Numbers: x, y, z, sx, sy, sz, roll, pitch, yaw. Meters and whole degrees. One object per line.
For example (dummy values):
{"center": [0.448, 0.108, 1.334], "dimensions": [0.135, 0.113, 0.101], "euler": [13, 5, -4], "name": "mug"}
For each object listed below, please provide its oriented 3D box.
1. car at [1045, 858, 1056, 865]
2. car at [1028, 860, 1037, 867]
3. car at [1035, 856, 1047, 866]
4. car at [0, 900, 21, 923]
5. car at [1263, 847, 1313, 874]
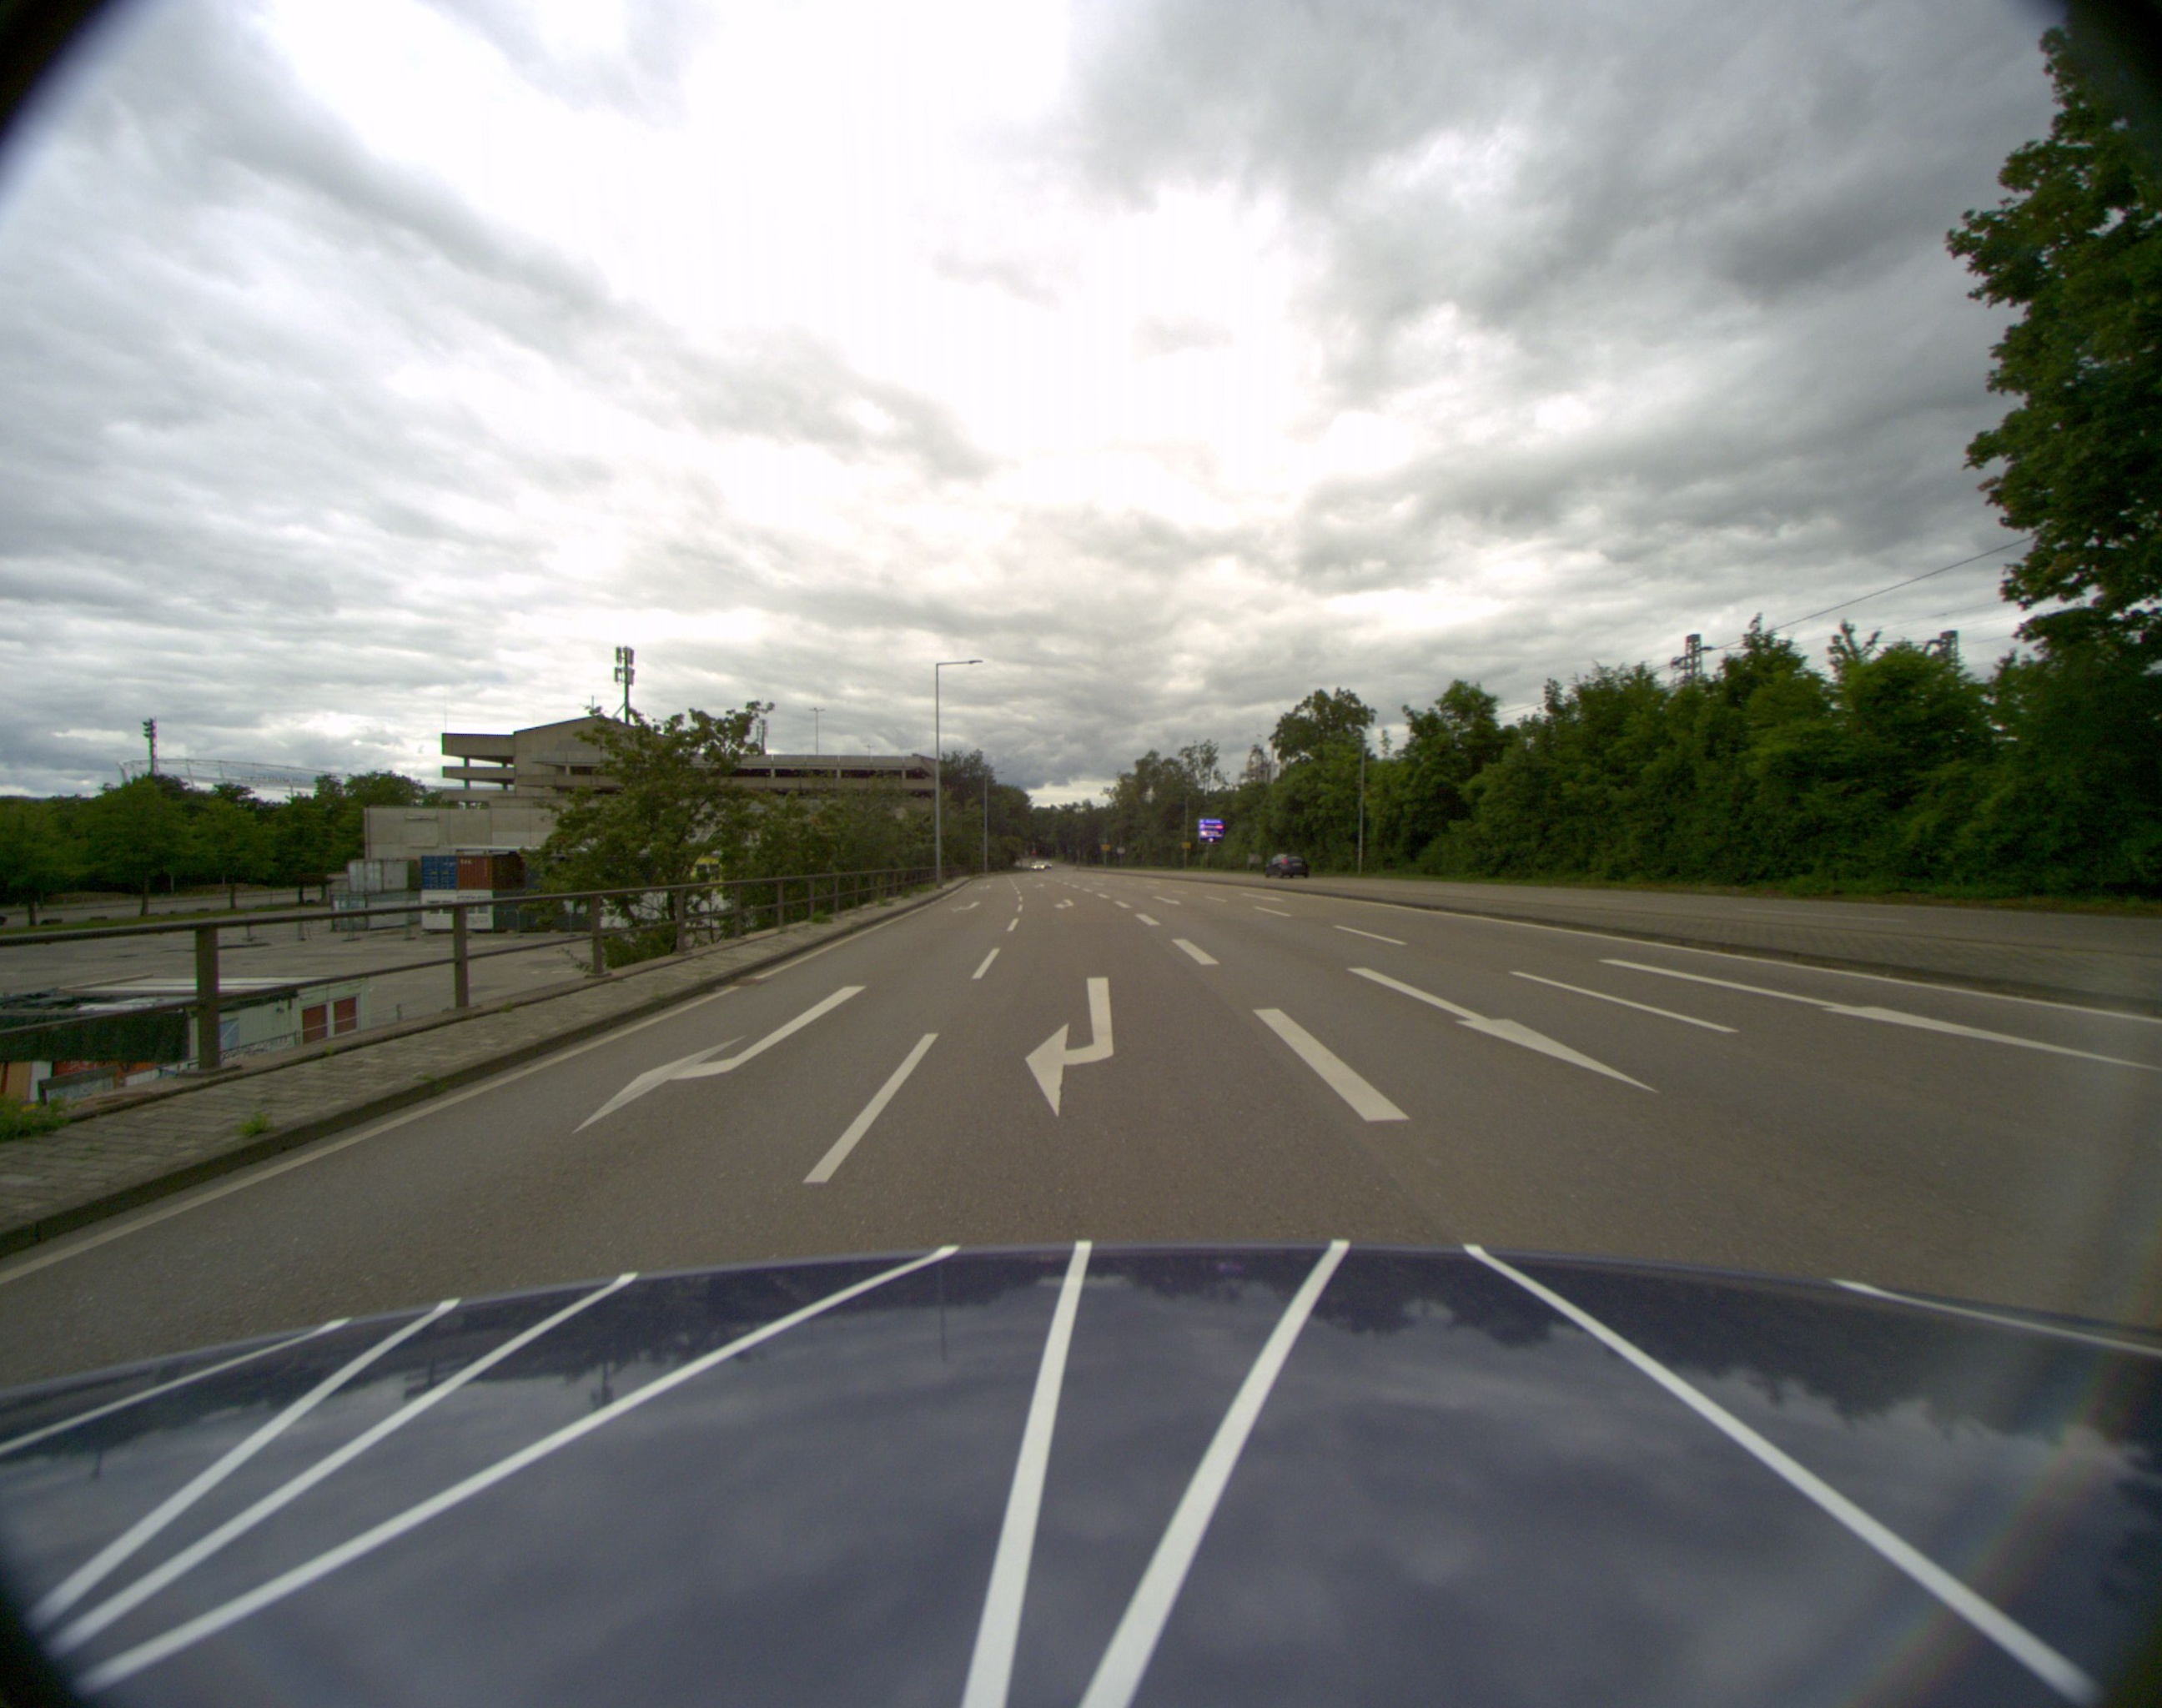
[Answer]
{"center": [-6.248, 1.589, 156.488], "dimensions": [1.843, 1.408, 4.577], "euler": [-1, 0, -6], "name": "car"}
{"center": [-9.713, 1.858, 152.140], "dimensions": [1.865, 1.408, 4.336], "euler": [-1, 0, -4], "name": "car"}
{"center": [-6.038, 1.091, 114.851], "dimensions": [1.609, 1.408, 3.590], "euler": [-1, 0, -3], "name": "car"}
{"center": [-91.476, 4.932, 62.810], "dimensions": [1.999, 1.805, 3.997], "euler": [-5, 1, -5], "name": "car"}
{"center": [12.253, 0.367, 45.296], "dimensions": [1.703, 1.455, 3.998], "euler": [-2, 1, -3], "name": "car"}
